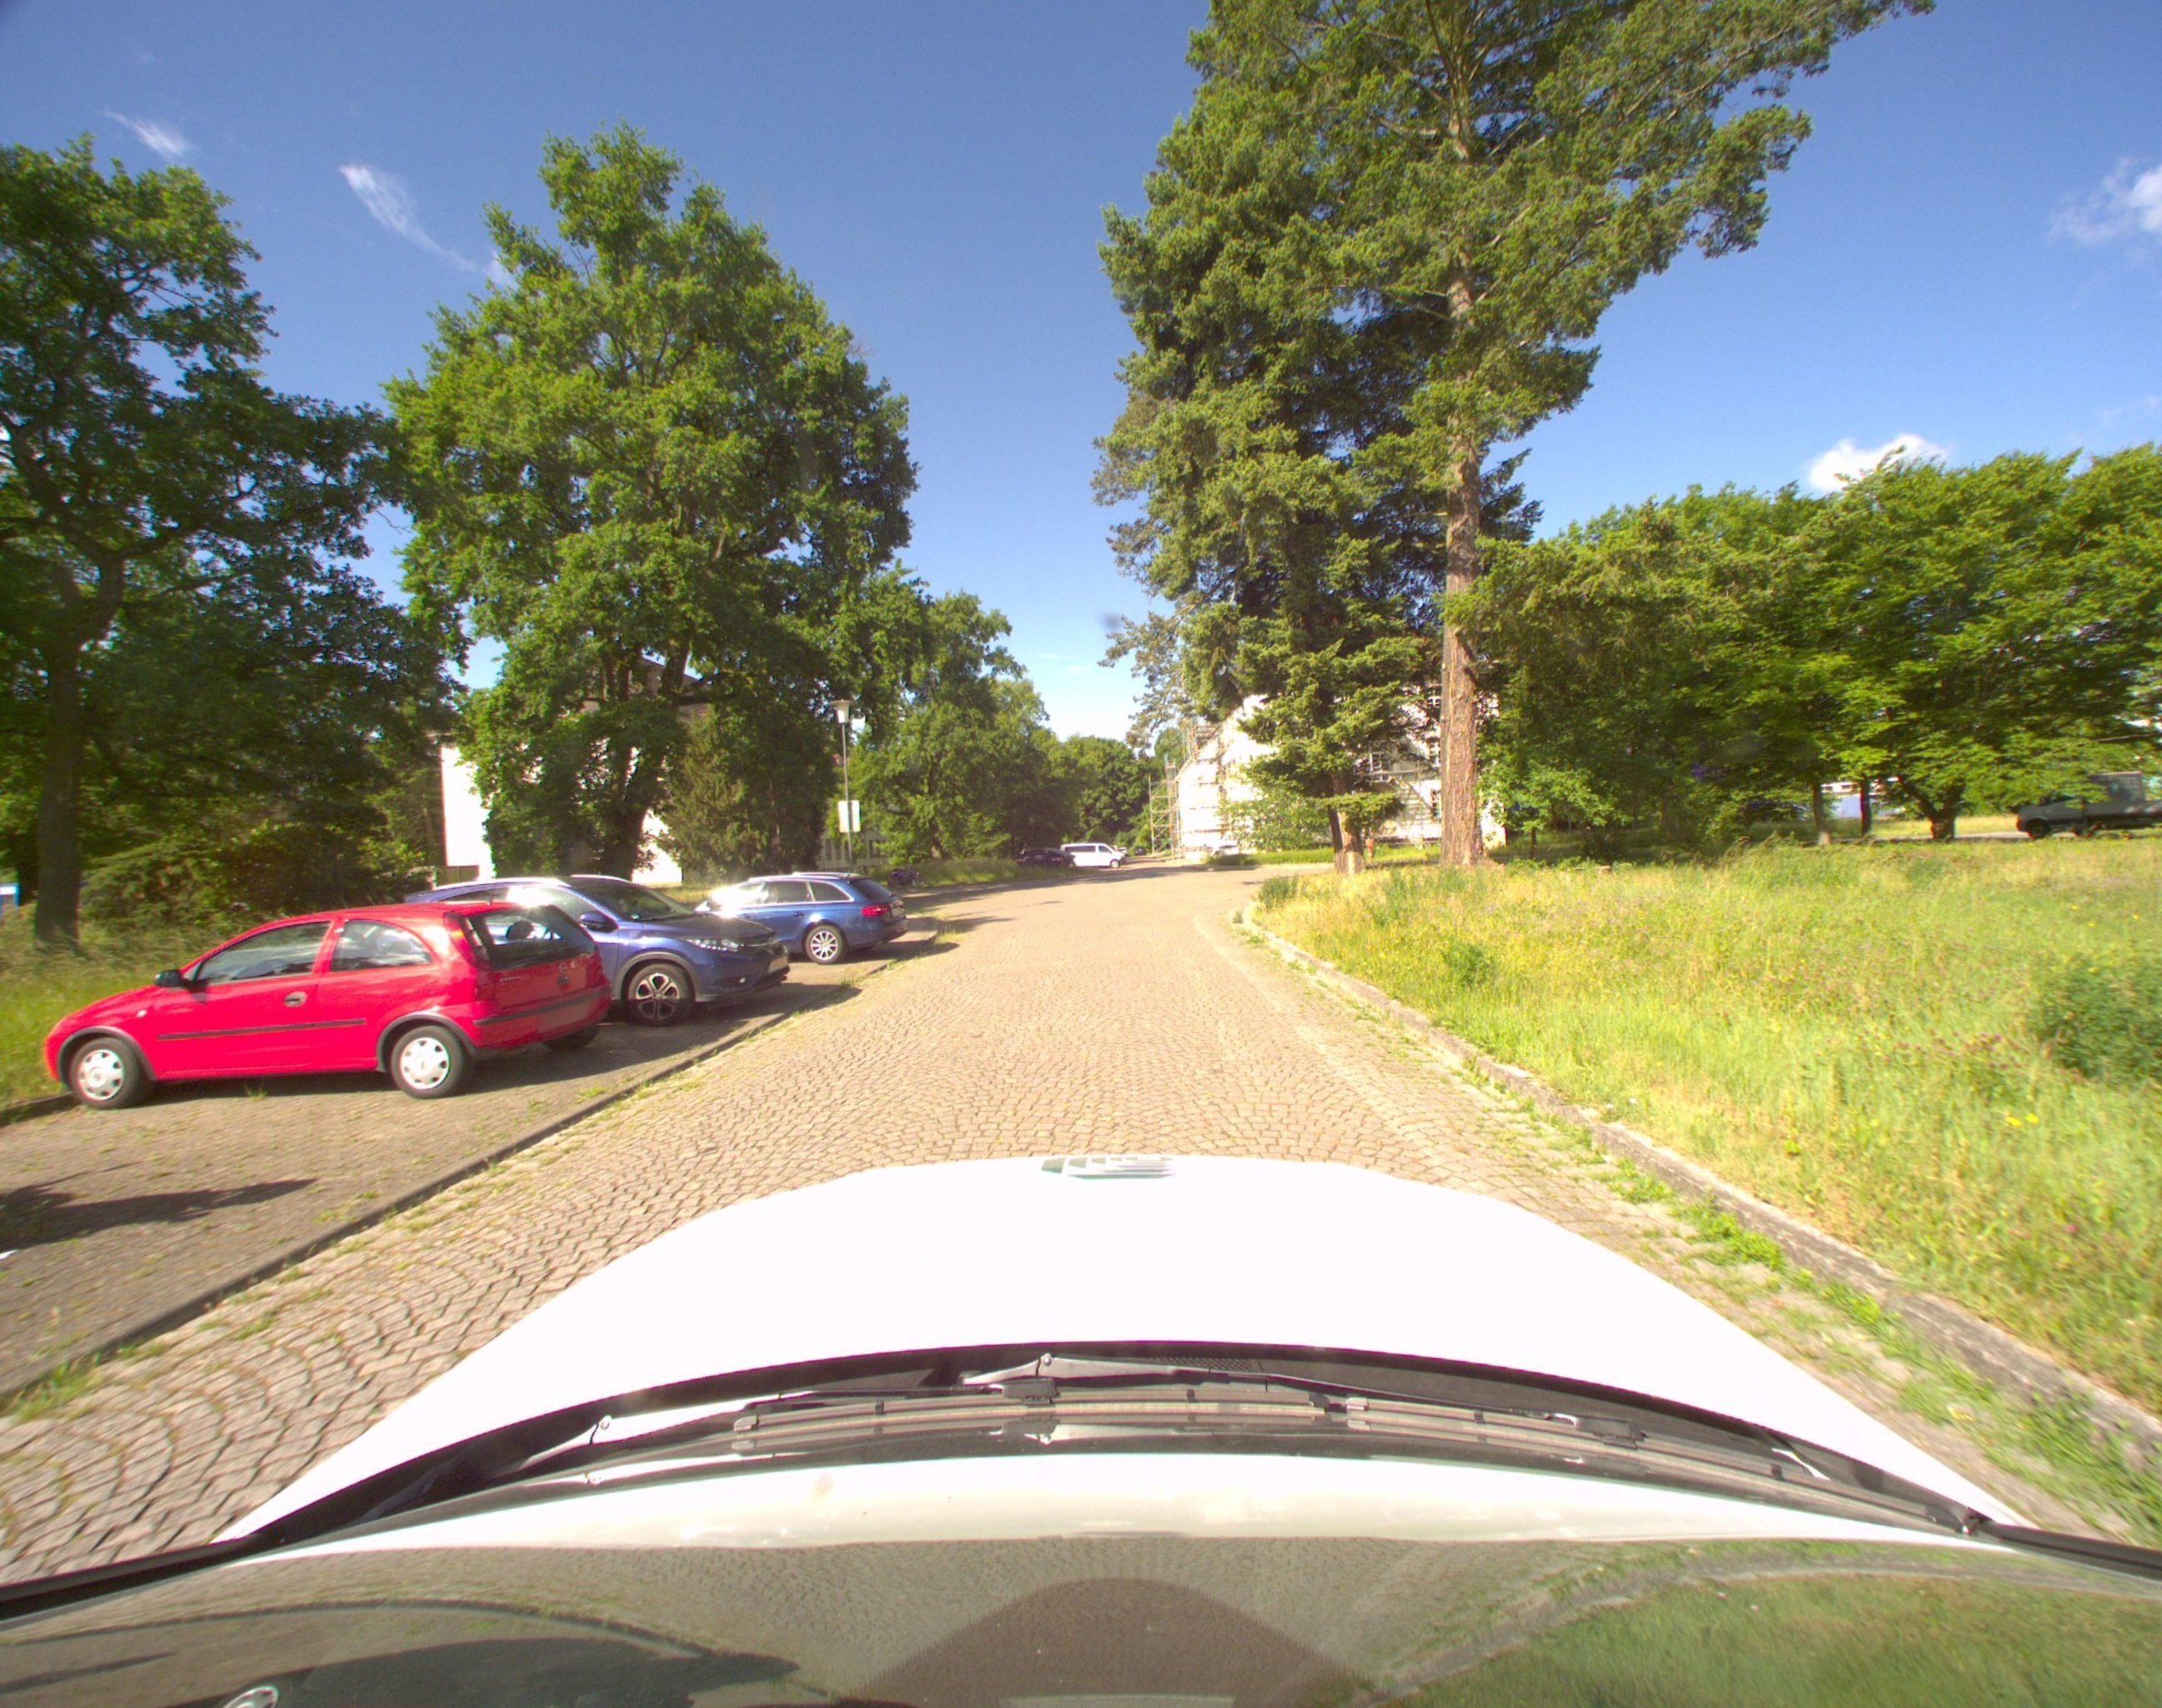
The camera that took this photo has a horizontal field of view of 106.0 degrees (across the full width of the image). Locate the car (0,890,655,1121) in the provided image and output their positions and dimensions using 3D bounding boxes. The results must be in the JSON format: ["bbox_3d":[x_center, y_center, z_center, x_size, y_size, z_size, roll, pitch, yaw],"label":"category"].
[{"bbox_3d":[-6.084,1.170,6.896,3.906,1.432,1.844,-3,1,3],"label":"car"}]

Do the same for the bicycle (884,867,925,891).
[{"bbox_3d":[-9.227,1.281,42.584,1.924,1.058,0.472,-6,1,-27],"label":"bicycle"}]

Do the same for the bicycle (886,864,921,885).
[{"bbox_3d":[-10.612,1.201,48.584,1.919,1.058,0.473,-6,1,-19],"label":"bicycle"}]

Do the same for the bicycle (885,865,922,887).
[{"bbox_3d":[-10.102,1.238,46.332,1.919,1.058,0.473,-6,1,-19],"label":"bicycle"}]

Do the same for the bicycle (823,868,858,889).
[{"bbox_3d":[-14.458,1.465,48.998,1.920,1.102,0.566,-4,2,-21],"label":"bicycle"}]

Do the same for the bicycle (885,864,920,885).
[{"bbox_3d":[-10.752,1.206,49.028,1.919,1.058,0.473,-6,1,-19],"label":"bicycle"}]

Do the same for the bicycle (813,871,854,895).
[{"bbox_3d":[-13.045,1.509,42.939,1.921,1.102,0.566,-4,2,-22],"label":"bicycle"}]

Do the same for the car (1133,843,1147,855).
[{"bbox_3d":[9.330,-0.774,128.767,1.963,1.668,4.088,-4,0,2],"label":"car"}]

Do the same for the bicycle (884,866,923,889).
[{"bbox_3d":[-9.603,1.278,44.146,1.920,1.058,0.473,-6,1,-21],"label":"bicycle"}]

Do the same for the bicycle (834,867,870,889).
[{"bbox_3d":[-13.357,1.396,47.495,1.917,1.102,0.567,-3,2,-17],"label":"bicycle"}]

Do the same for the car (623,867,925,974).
[{"bbox_3d":[-5.111,1.088,13.949,4.338,1.444,1.924,-3,1,5],"label":"car"}]

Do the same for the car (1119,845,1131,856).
[{"bbox_3d":[6.930,-0.561,128.554,1.805,1.579,4.137,-4,0,2],"label":"car"}]

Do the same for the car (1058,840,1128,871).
[{"bbox_3d":[0.928,0.094,62.673,5.214,2.016,1.951,-3,0,2],"label":"car"}]

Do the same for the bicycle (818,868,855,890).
[{"bbox_3d":[-13.944,1.442,46.430,1.923,1.102,0.565,-4,2,-26],"label":"bicycle"}]

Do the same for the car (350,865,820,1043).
[{"bbox_3d":[-5.393,1.039,9.270,4.119,1.579,1.886,-3,1,2],"label":"car"}]

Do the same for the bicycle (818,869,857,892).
[{"bbox_3d":[-13.478,1.459,45.113,1.923,1.102,0.565,-4,2,-26],"label":"bicycle"}]

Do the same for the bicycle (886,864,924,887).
[{"bbox_3d":[-9.837,1.198,45.508,1.920,1.058,0.473,-6,1,-21],"label":"bicycle"}]

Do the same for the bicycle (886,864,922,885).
[{"bbox_3d":[-10.451,1.214,48.112,1.919,1.058,0.473,-6,1,-19],"label":"bicycle"}]

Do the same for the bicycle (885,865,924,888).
[{"bbox_3d":[-9.688,1.238,44.713,1.920,1.058,0.473,-6,1,-21],"label":"bicycle"}]

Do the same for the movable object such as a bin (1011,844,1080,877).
[{"bbox_3d":[-2.141,0.379,49.671,3.535,1.744,2.036,-4,0,21],"label":"movable object such as a bin"}]

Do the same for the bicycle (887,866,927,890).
[{"bbox_3d":[-9.217,1.246,43.139,1.924,1.058,0.472,-6,1,-27],"label":"bicycle"}]

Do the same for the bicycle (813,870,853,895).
[{"bbox_3d":[-13.235,1.511,43.442,1.921,1.102,0.566,-4,2,-22],"label":"bicycle"}]

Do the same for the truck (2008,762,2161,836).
[{"bbox_3d":[37.259,-1.910,28.365,2.224,2.423,6.889,-2,0,2],"label":"truck"}]
